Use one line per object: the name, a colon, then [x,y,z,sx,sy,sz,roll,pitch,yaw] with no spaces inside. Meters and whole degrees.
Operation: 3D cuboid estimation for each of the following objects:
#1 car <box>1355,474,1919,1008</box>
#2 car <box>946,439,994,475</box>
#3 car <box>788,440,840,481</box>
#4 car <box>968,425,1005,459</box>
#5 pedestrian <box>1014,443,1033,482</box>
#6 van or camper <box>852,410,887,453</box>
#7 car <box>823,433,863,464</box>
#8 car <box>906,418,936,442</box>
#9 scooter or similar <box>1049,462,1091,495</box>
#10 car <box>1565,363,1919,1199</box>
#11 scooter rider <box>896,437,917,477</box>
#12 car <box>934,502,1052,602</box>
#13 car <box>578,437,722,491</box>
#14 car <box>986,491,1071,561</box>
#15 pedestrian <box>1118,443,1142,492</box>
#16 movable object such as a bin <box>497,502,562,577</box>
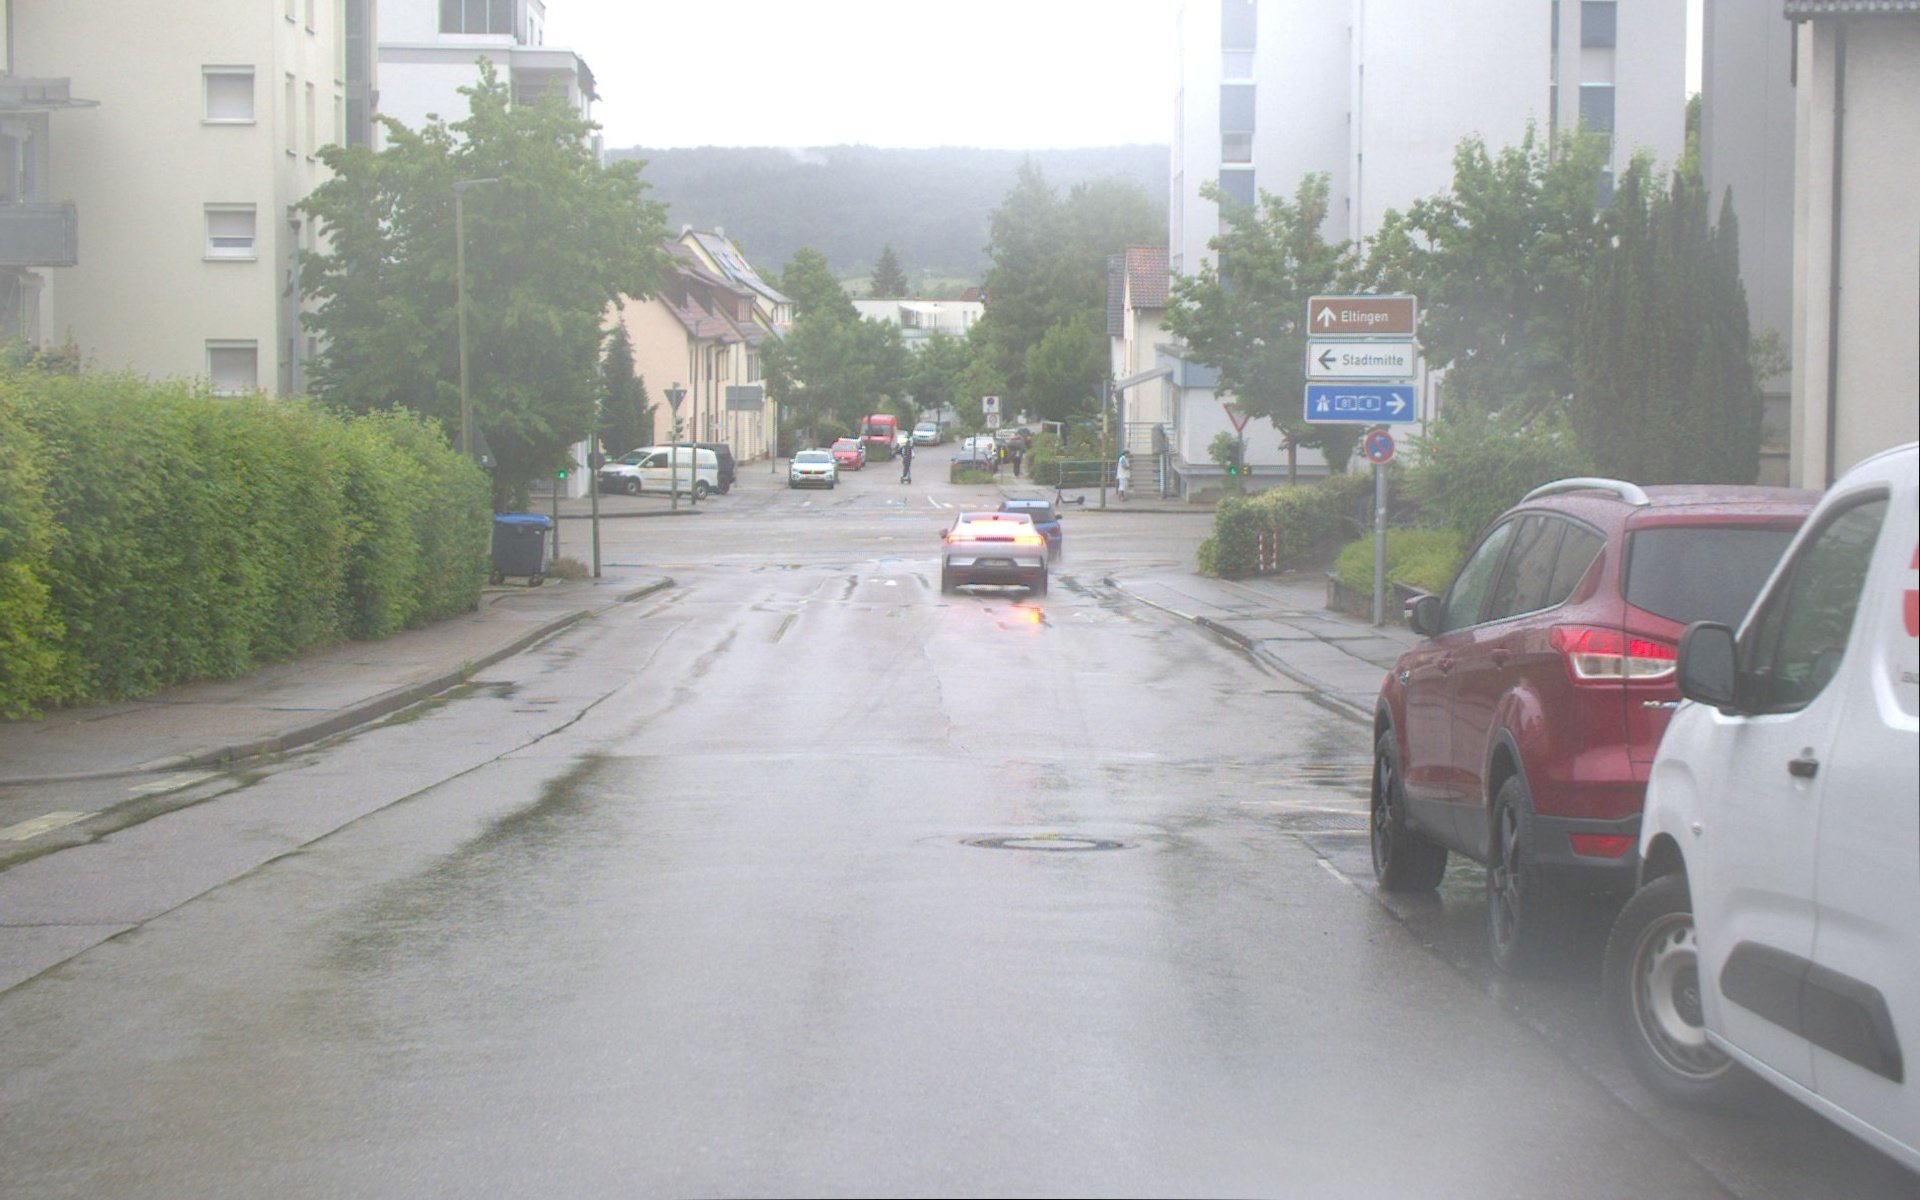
car: [2.792,0.362,13.008,1.993,1.638,4.959,0,2,0]
car: [0.449,-6.588,157.854,2.146,1.583,4.129,-1,3,0]
car: [-6.101,-5.878,144.206,1.993,1.620,4.192,-1,3,0]
car: [1.390,-8.283,179.941,1.901,1.739,4.192,-1,3,0]
pedestrian: [3.035,-6.627,165.331,0.746,1.842,0.526,-2,1,16]
van or camper: [-5.330,-9.940,202.727,1.901,2.504,4.239,-1,3,0]
car: [-6.137,-7.979,180.620,1.901,1.553,4.192,-1,3,0]
car: [-2.607,-11.431,230.781,1.901,1.553,4.192,-1,3,0]
scooter or similar: [3.675,-4.065,114.928,1.268,1.077,0.877,-1,3,-5]
car: [2.706,0.438,7.709,1.878,1.827,4.489,0,2,0]
scooter rider: [-2.402,-6.431,154.580,0.752,1.789,0.673,-2,3,-16]
car: [0.584,-0.939,64.726,1.993,1.678,4.001,-1,3,-2]
car: [-11.141,-4.895,123.722,4.830,1.829,2.000,-3,4,-38]
car: [1.790,-1.987,90.850,1.993,1.678,4.001,-1,3,-2]
pedestrian: [5.755,-4.483,116.352,0.647,1.641,0.526,2,2,-7]
movable object such as a bin: [-8.013,-1.140,63.983,1.071,1.343,1.319,2,2,-3]
